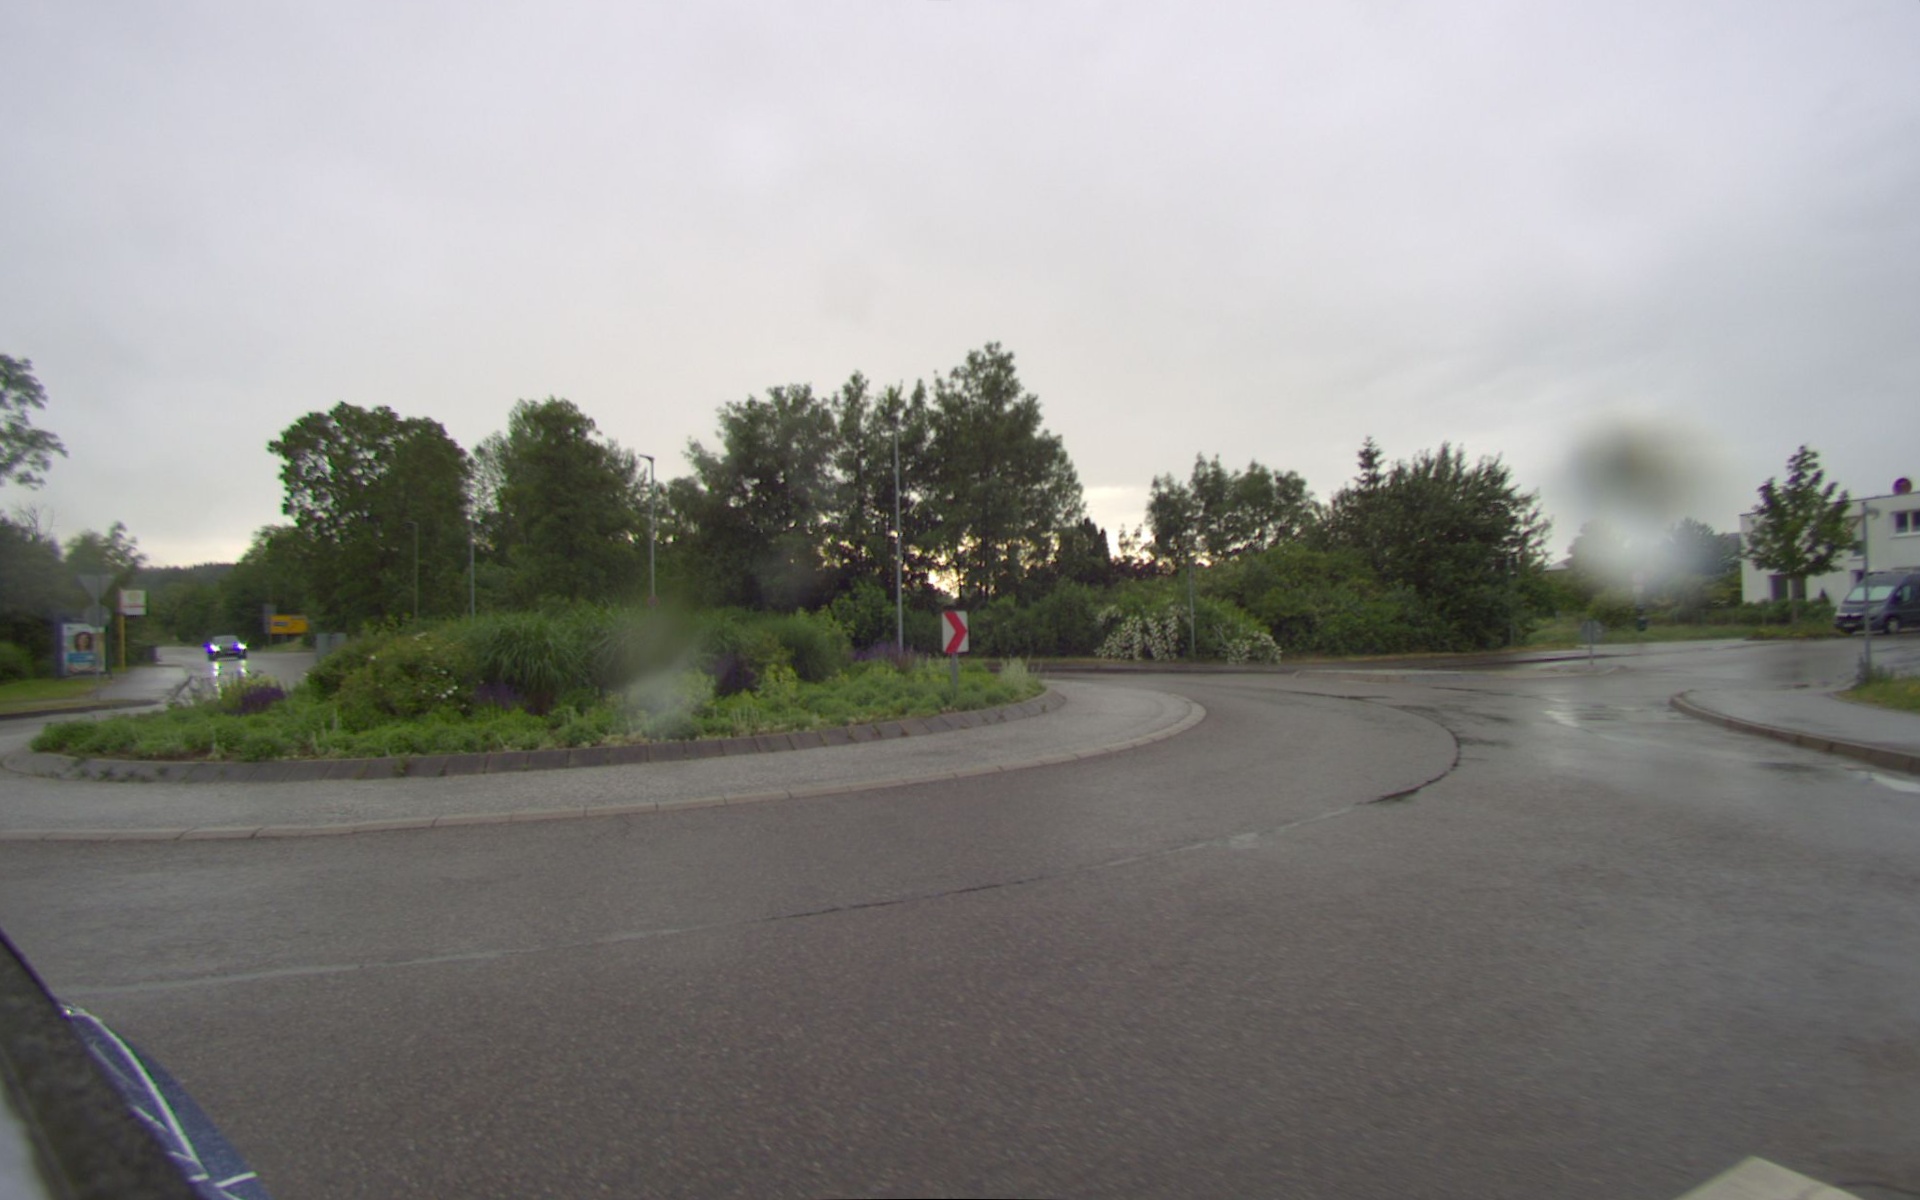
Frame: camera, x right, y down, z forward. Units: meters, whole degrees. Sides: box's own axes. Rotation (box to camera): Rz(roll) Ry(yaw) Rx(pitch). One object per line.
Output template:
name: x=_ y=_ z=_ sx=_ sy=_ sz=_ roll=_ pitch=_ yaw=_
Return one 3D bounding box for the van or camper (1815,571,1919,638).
van or camper: x=38.407 y=0.117 z=40.574 sx=6.116 sy=2.512 sz=2.533 roll=-2 pitch=-2 yaw=-3

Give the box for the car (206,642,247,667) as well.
car: x=-46.455 y=3.444 z=64.067 sx=1.828 sy=1.501 sz=4.127 roll=0 pitch=-2 yaw=-40
